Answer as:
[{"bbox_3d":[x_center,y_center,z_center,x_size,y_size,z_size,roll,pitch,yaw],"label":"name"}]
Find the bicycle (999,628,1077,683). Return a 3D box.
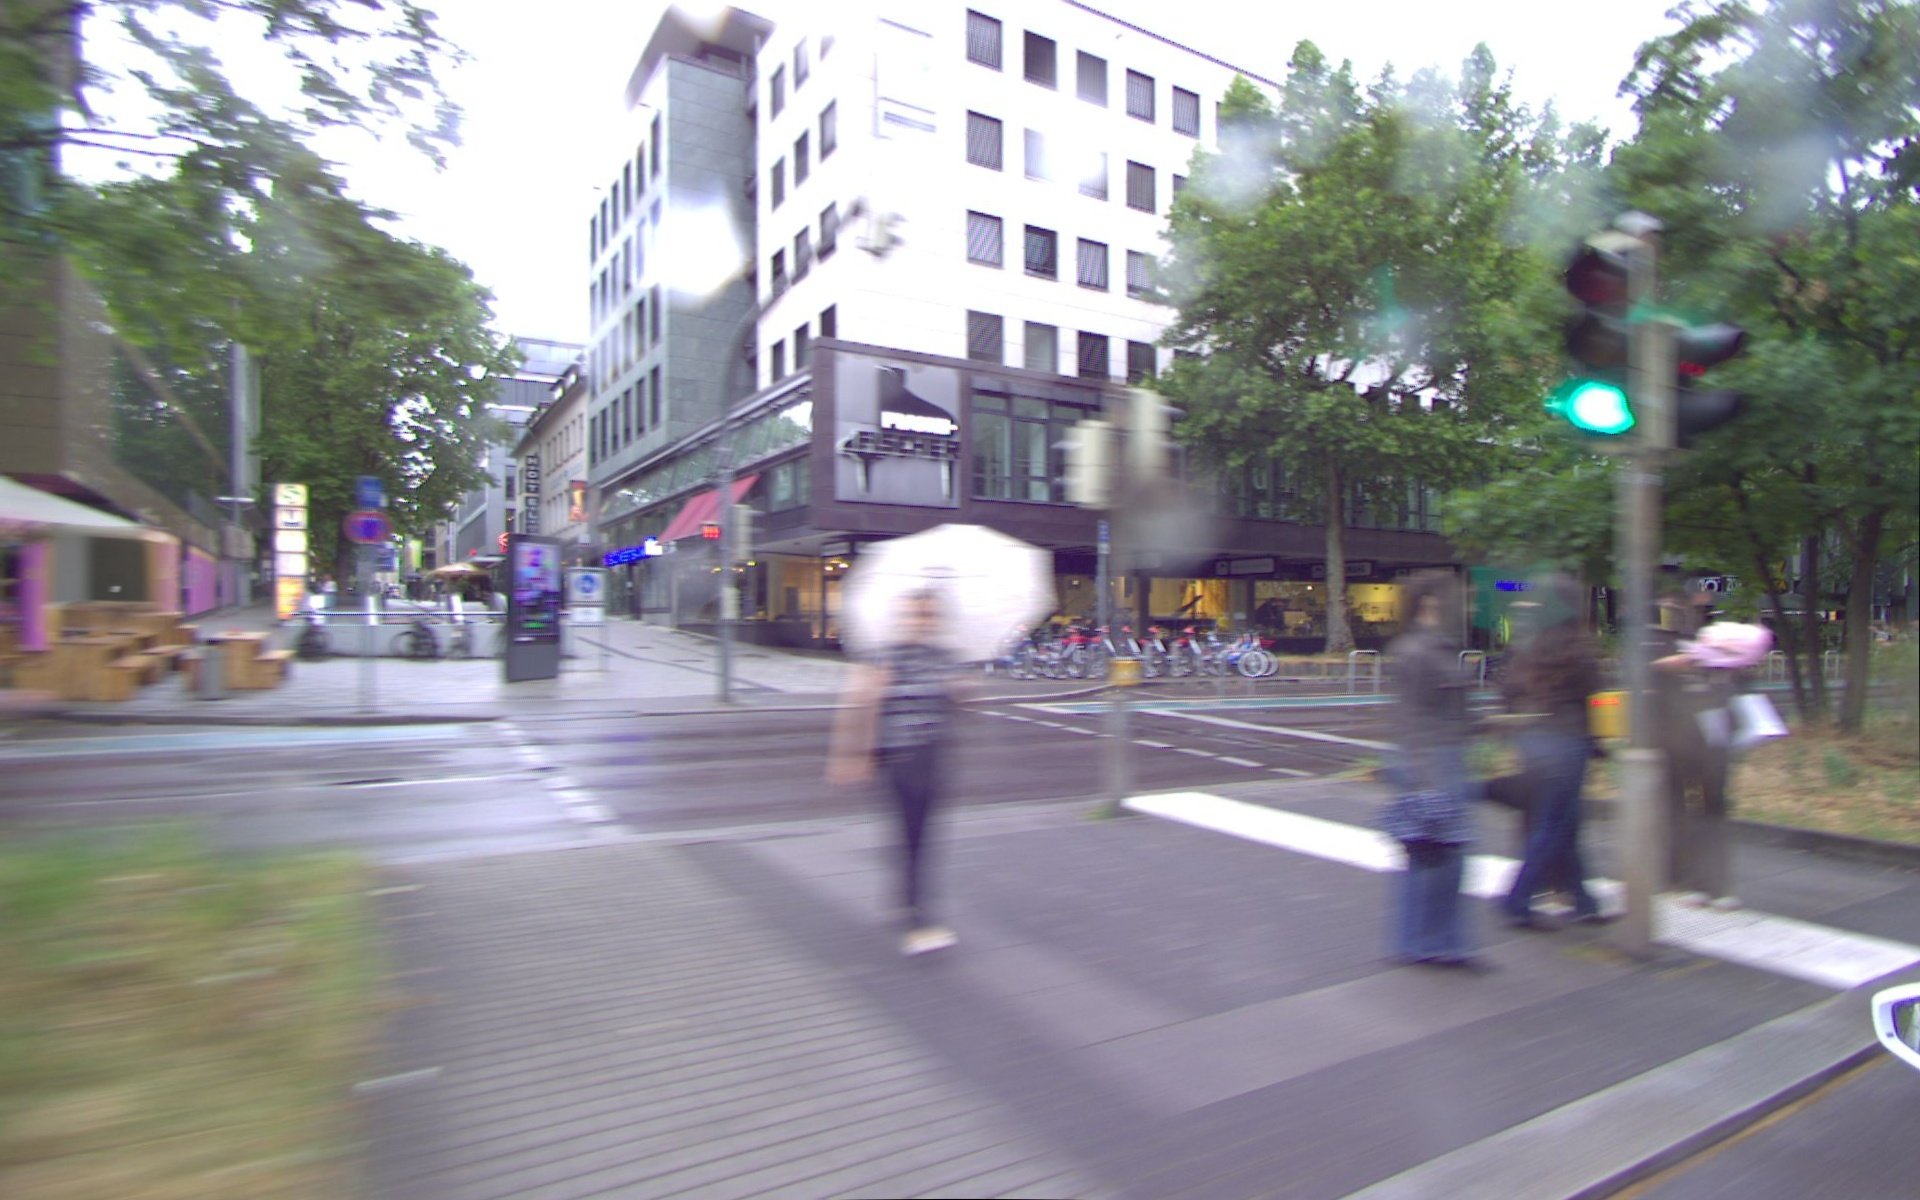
[{"bbox_3d":[1.656,1.169,21.612,0.609,1.112,1.831,1,-1,-37],"label":"bicycle"}]

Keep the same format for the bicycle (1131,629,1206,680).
[{"bbox_3d":[4.885,1.263,23.648,0.561,1.112,1.808,1,-1,-37],"label":"bicycle"}]

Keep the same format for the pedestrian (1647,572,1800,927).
[{"bbox_3d":[3.966,0.728,5.225,0.401,1.721,0.568,2,-1,-42],"label":"pedestrian"}]

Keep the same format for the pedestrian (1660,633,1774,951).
[{"bbox_3d":[3.746,0.903,4.967,0.418,1.469,0.383,0,-1,42],"label":"pedestrian"}]

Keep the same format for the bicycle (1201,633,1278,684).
[{"bbox_3d":[6.593,1.357,23.790,0.560,1.151,1.832,1,-1,-36],"label":"bicycle"}]

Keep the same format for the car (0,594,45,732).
[{"bbox_3d":[-12.977,0.676,10.680,4.468,1.529,1.983,1,-2,-32],"label":"car"}]

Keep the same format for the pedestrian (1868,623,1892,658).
[{"bbox_3d":[53.880,2.354,58.823,0.628,2.040,0.876,1,-1,-30],"label":"pedestrian"}]

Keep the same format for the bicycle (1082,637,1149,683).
[{"bbox_3d":[3.501,1.329,22.712,0.505,0.975,1.606,1,-1,-37],"label":"bicycle"}]

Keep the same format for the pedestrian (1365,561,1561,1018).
[{"bbox_3d":[2.057,0.697,4.094,0.603,1.663,0.603,0,-1,38],"label":"pedestrian"}]

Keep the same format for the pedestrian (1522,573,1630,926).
[{"bbox_3d":[3.210,0.745,5.239,0.322,1.743,0.395,2,-1,-39],"label":"pedestrian"}]

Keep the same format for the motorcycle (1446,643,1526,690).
[{"bbox_3d":[13.256,1.663,25.353,1.748,1.099,0.495,1,0,31],"label":"motorcycle"}]

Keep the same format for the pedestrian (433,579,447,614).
[{"bbox_3d":[-30.952,-0.216,59.750,0.656,2.040,0.751,2,0,-28],"label":"pedestrian"}]

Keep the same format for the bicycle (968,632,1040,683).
[{"bbox_3d":[0.909,1.194,21.158,0.560,0.992,1.834,1,-1,-32],"label":"bicycle"}]

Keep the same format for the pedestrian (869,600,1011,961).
[{"bbox_3d":[-0.102,0.765,4.502,0.534,1.508,0.482,1,-1,-12],"label":"pedestrian"}]

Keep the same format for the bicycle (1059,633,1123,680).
[{"bbox_3d":[2.912,1.250,22.425,0.561,0.992,1.452,1,-1,-37],"label":"bicycle"}]

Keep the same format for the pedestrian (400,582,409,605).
[{"bbox_3d":[-48.322,-0.568,87.380,0.576,2.040,0.658,2,0,-29],"label":"pedestrian"}]

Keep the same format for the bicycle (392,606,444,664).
[{"bbox_3d":[-12.347,0.769,22.849,0.683,1.263,2.369,1,-1,-37],"label":"bicycle"}]

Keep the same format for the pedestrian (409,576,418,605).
[{"bbox_3d":[-37.313,-0.616,68.599,0.473,1.956,0.603,2,0,-30],"label":"pedestrian"}]

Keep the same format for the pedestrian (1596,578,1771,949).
[{"bbox_3d":[3.515,0.738,4.887,0.442,1.664,0.622,2,-1,-44],"label":"pedestrian"}]

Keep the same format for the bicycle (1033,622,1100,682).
[{"bbox_3d":[2.316,1.116,21.948,0.505,1.257,1.606,1,-1,-37],"label":"bicycle"}]

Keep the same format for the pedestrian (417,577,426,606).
[{"bbox_3d":[-36.862,-0.598,68.808,0.473,1.956,0.603,2,0,-30],"label":"pedestrian"}]

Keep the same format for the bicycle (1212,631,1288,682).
[{"bbox_3d":[7.005,1.344,24.323,0.560,1.165,1.832,1,-1,-36],"label":"bicycle"}]

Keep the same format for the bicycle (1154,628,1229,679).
[{"bbox_3d":[5.514,1.255,24.029,0.561,1.152,1.831,1,-1,-37],"label":"bicycle"}]

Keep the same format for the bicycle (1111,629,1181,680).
[{"bbox_3d":[4.287,1.242,23.258,0.561,1.106,1.657,1,-1,-37],"label":"bicycle"}]

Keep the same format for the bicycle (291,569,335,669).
[{"bbox_3d":[-13.826,0.389,21.504,0.682,2.040,2.373,1,0,-31],"label":"bicycle"}]
